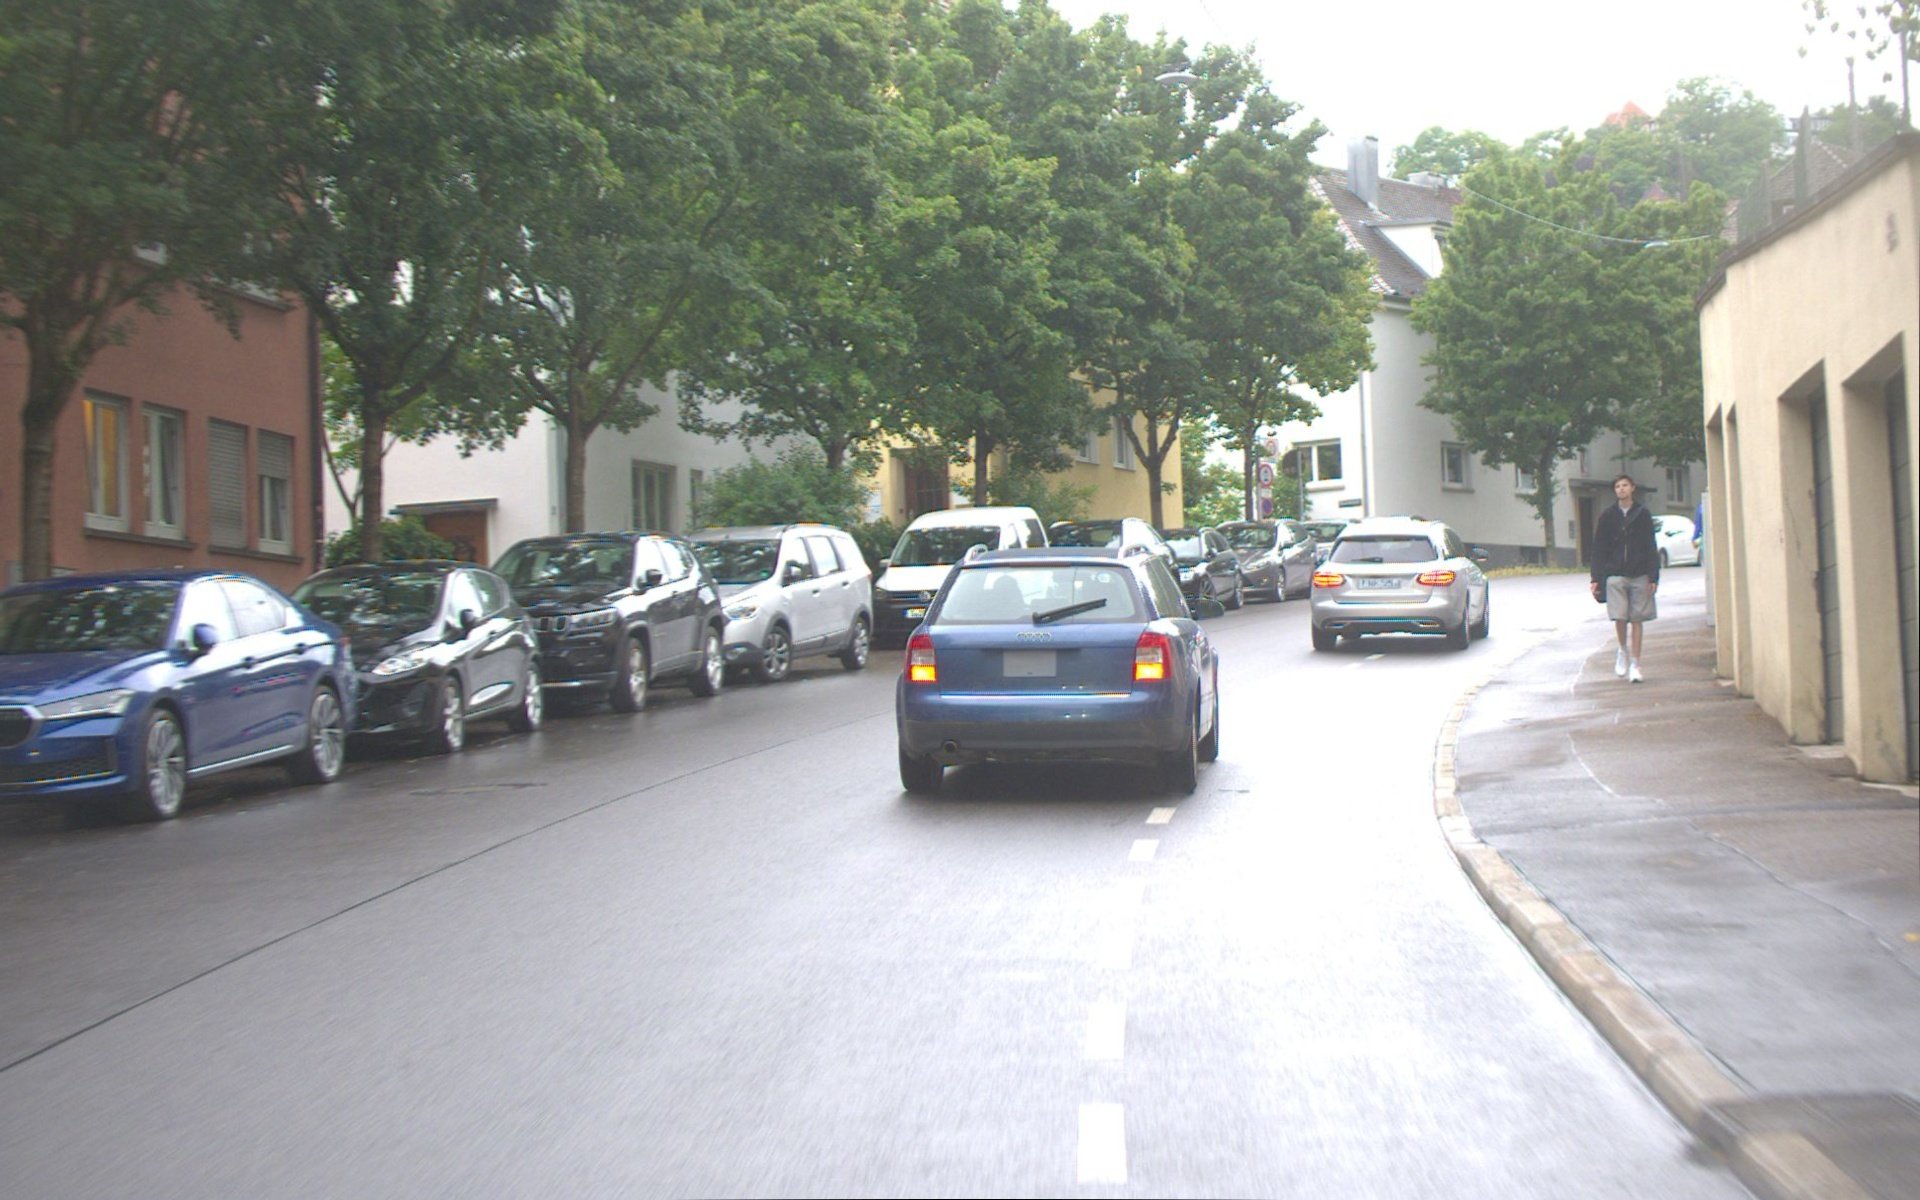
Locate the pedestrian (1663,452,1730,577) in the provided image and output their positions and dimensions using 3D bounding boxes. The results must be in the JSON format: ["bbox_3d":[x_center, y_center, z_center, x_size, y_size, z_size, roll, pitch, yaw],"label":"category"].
[{"bbox_3d":[10.697,-1.236,49.891,0.775,1.752,1.011,-3,0,16],"label":"pedestrian"}]

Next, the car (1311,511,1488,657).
[{"bbox_3d":[5.229,-0.230,40.581,1.950,1.556,4.262,0,2,9],"label":"car"}]

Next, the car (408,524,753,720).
[{"bbox_3d":[-3.439,0.149,32.047,1.788,1.635,4.478,-2,1,13],"label":"car"}]

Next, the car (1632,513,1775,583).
[{"bbox_3d":[19.473,-1.373,89.961,1.788,1.640,4.336,-6,-3,38],"label":"car"}]

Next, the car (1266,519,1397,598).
[{"bbox_3d":[7.293,-0.825,67.204,1.615,1.392,4.319,-2,1,19],"label":"car"}]

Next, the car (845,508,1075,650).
[{"bbox_3d":[0.059,-0.320,46.735,1.855,1.770,4.479,-2,1,17],"label":"car"}]

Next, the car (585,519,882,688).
[{"bbox_3d":[-2.410,-0.012,37.851,1.748,1.684,4.597,-2,1,16],"label":"car"}]

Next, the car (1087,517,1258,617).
[{"bbox_3d":[3.560,-0.571,56.797,1.855,1.493,4.738,-1,1,16],"label":"car"}]

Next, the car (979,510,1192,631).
[{"bbox_3d":[1.951,-0.475,51.800,1.855,1.662,4.583,-2,1,20],"label":"car"}]

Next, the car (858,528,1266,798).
[{"bbox_3d":[0.746,0.314,21.231,1.854,1.409,4.360,-3,1,10],"label":"car"}]

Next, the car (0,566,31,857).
[{"bbox_3d":[-5.973,0.644,16.011,1.787,1.488,4.361,-2,1,4],"label":"car"}]

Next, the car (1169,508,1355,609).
[{"bbox_3d":[5.512,-0.770,62.268,1.856,1.684,4.549,-1,1,25],"label":"car"}]

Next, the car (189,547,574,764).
[{"bbox_3d":[-4.446,0.376,27.121,1.787,1.488,4.360,-2,1,7],"label":"car"}]

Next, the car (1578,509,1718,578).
[{"bbox_3d":[17.209,-1.394,85.834,1.787,1.509,4.337,-6,-3,34],"label":"car"}]

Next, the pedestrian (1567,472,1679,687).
[{"bbox_3d":[5.857,-0.187,30.362,0.899,1.844,0.802,-2,1,11],"label":"pedestrian"}]

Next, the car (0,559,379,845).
[{"bbox_3d":[-5.274,0.553,21.319,1.788,1.488,4.860,-2,1,9],"label":"car"}]
